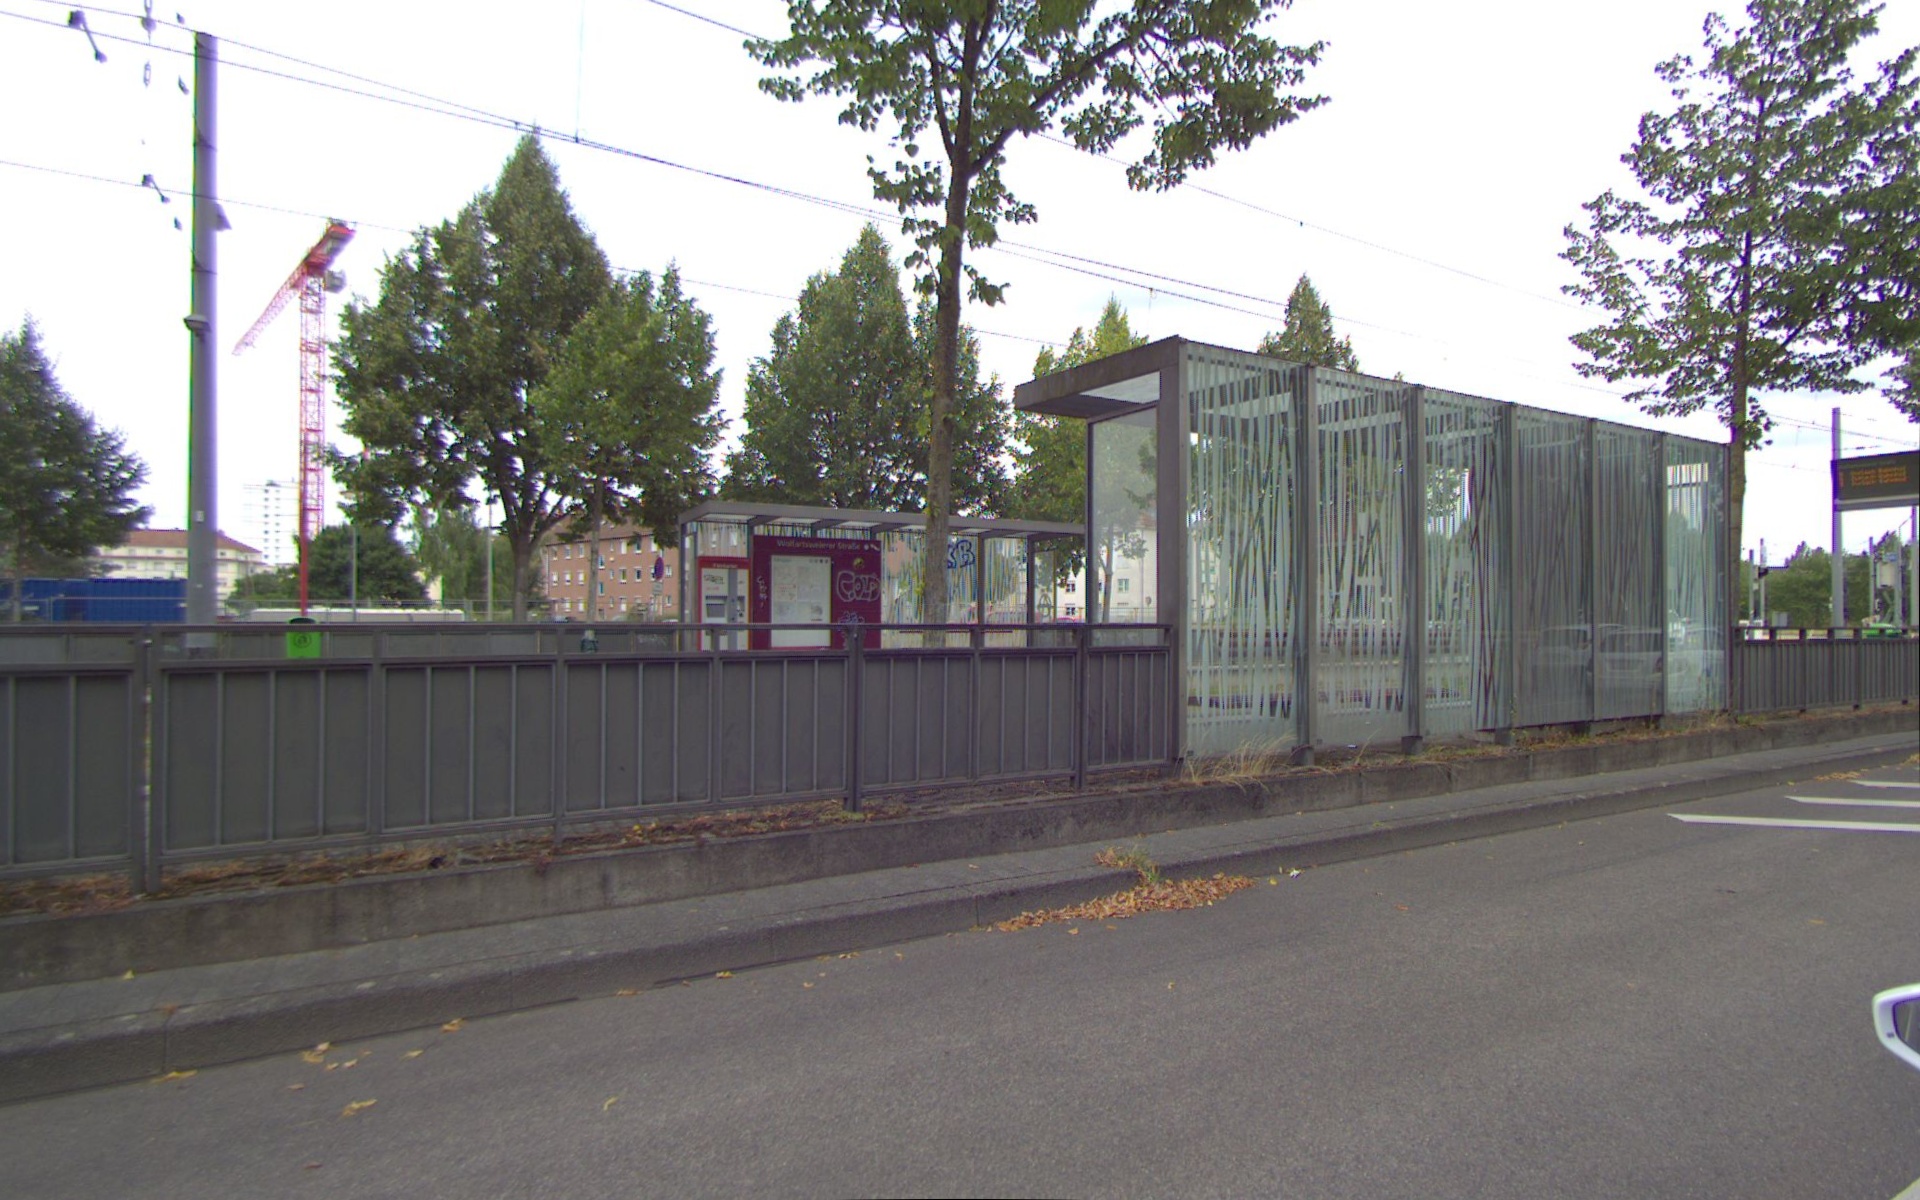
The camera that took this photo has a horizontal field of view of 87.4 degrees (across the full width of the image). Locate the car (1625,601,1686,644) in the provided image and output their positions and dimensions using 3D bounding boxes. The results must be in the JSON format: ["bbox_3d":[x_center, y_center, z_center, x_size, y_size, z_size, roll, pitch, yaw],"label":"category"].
[{"bbox_3d":[28.351,0.880,40.905,1.968,1.639,4.369,0,0,36],"label":"car"}]
